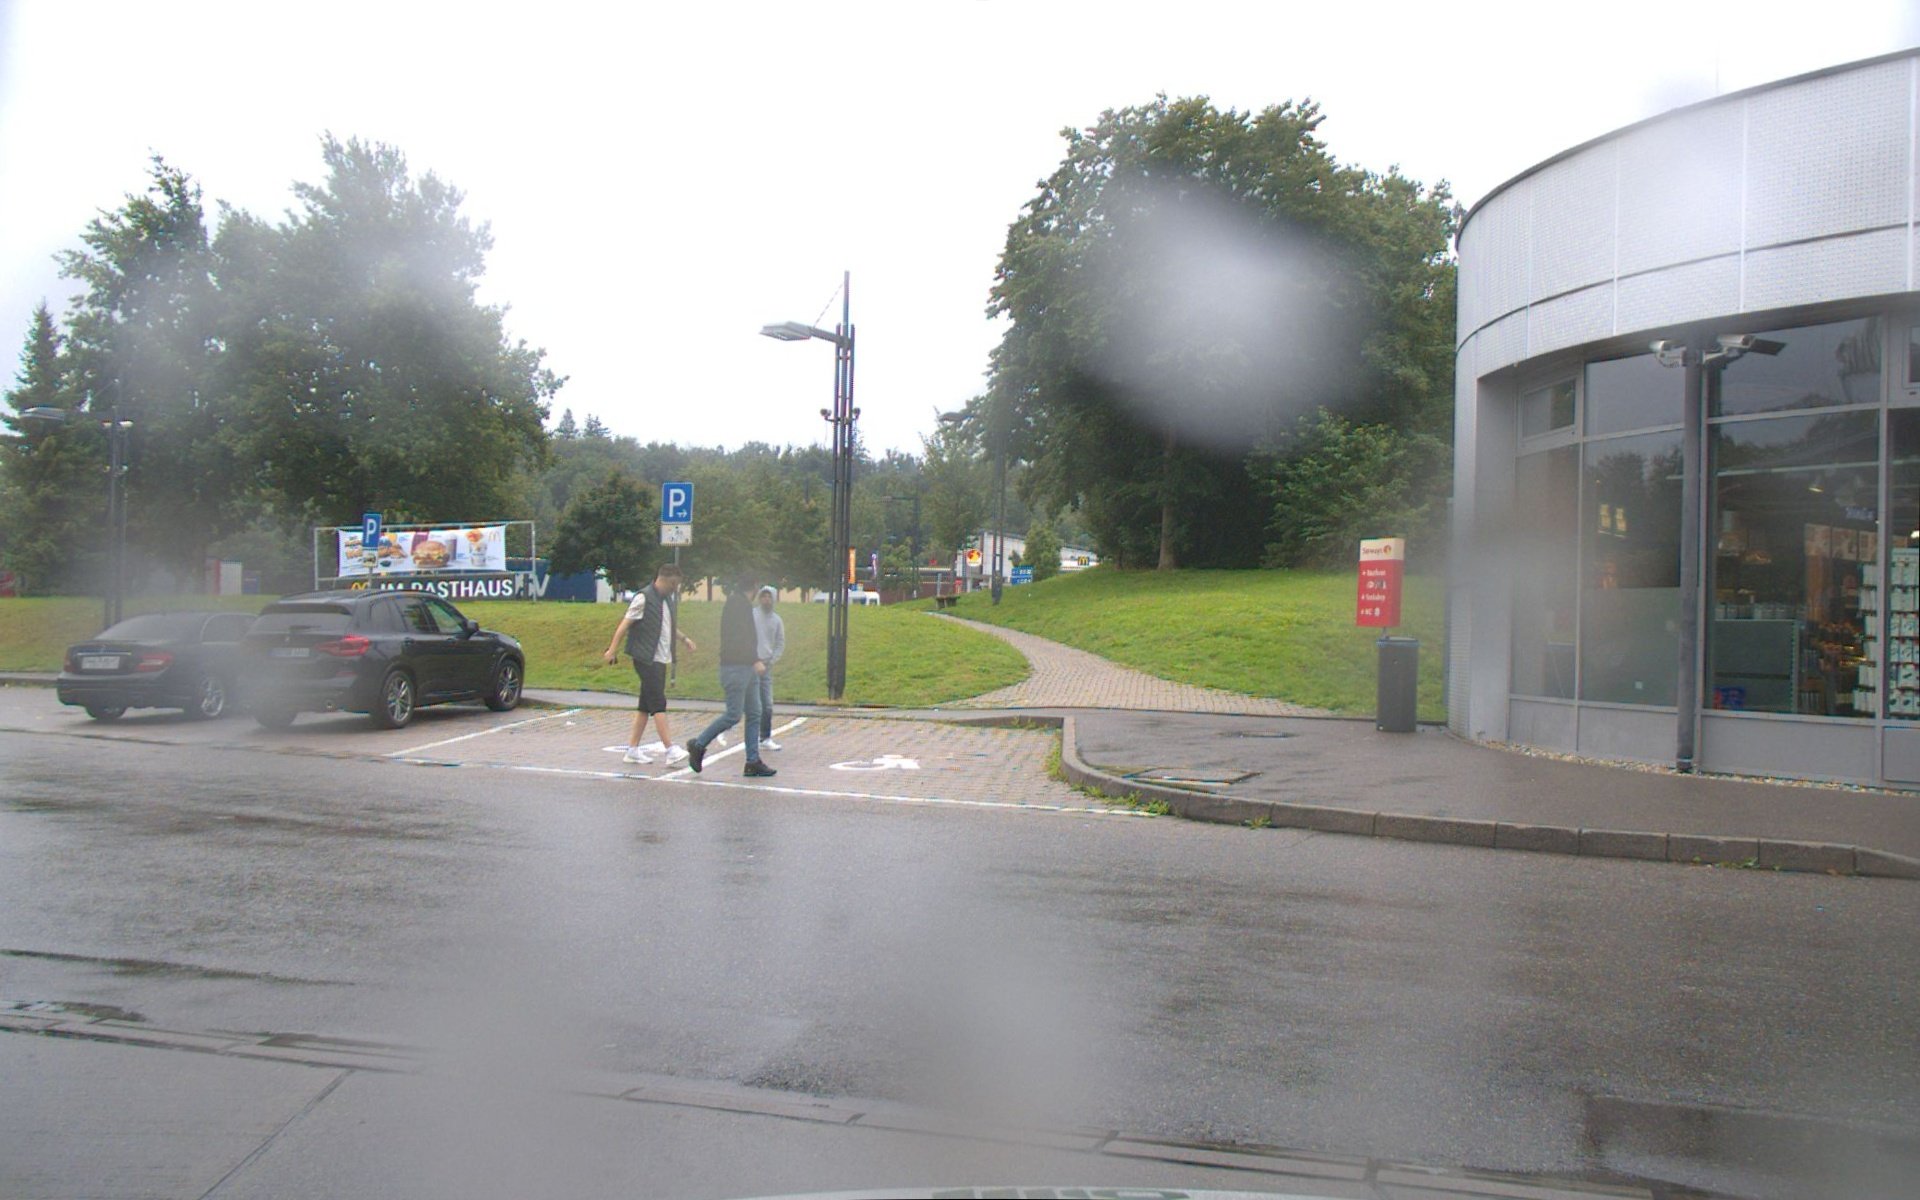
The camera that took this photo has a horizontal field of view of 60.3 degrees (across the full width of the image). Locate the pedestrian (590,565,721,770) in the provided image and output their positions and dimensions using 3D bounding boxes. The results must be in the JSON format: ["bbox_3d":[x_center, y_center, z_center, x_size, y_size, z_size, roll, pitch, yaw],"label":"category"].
[{"bbox_3d":[-2.896,0.618,15.767,0.954,1.880,0.772,0,0,28],"label":"pedestrian"}]

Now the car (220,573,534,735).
[{"bbox_3d":[-7.331,0.610,21.325,1.844,1.860,4.417,0,0,11],"label":"car"}]

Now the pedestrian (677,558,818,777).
[{"bbox_3d":[-1.913,0.585,14.943,0.979,1.897,0.798,0,0,28],"label":"pedestrian"}]

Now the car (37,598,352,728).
[{"bbox_3d":[-10.356,0.783,22.764,1.844,1.592,4.189,0,0,11],"label":"car"}]

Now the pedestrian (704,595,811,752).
[{"bbox_3d":[-2.090,0.740,17.111,0.872,1.577,0.659,0,0,29],"label":"pedestrian"}]

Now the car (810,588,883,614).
[{"bbox_3d":[-9.167,0.061,133.634,5.310,2.049,2.456,1,0,19],"label":"car"}]
